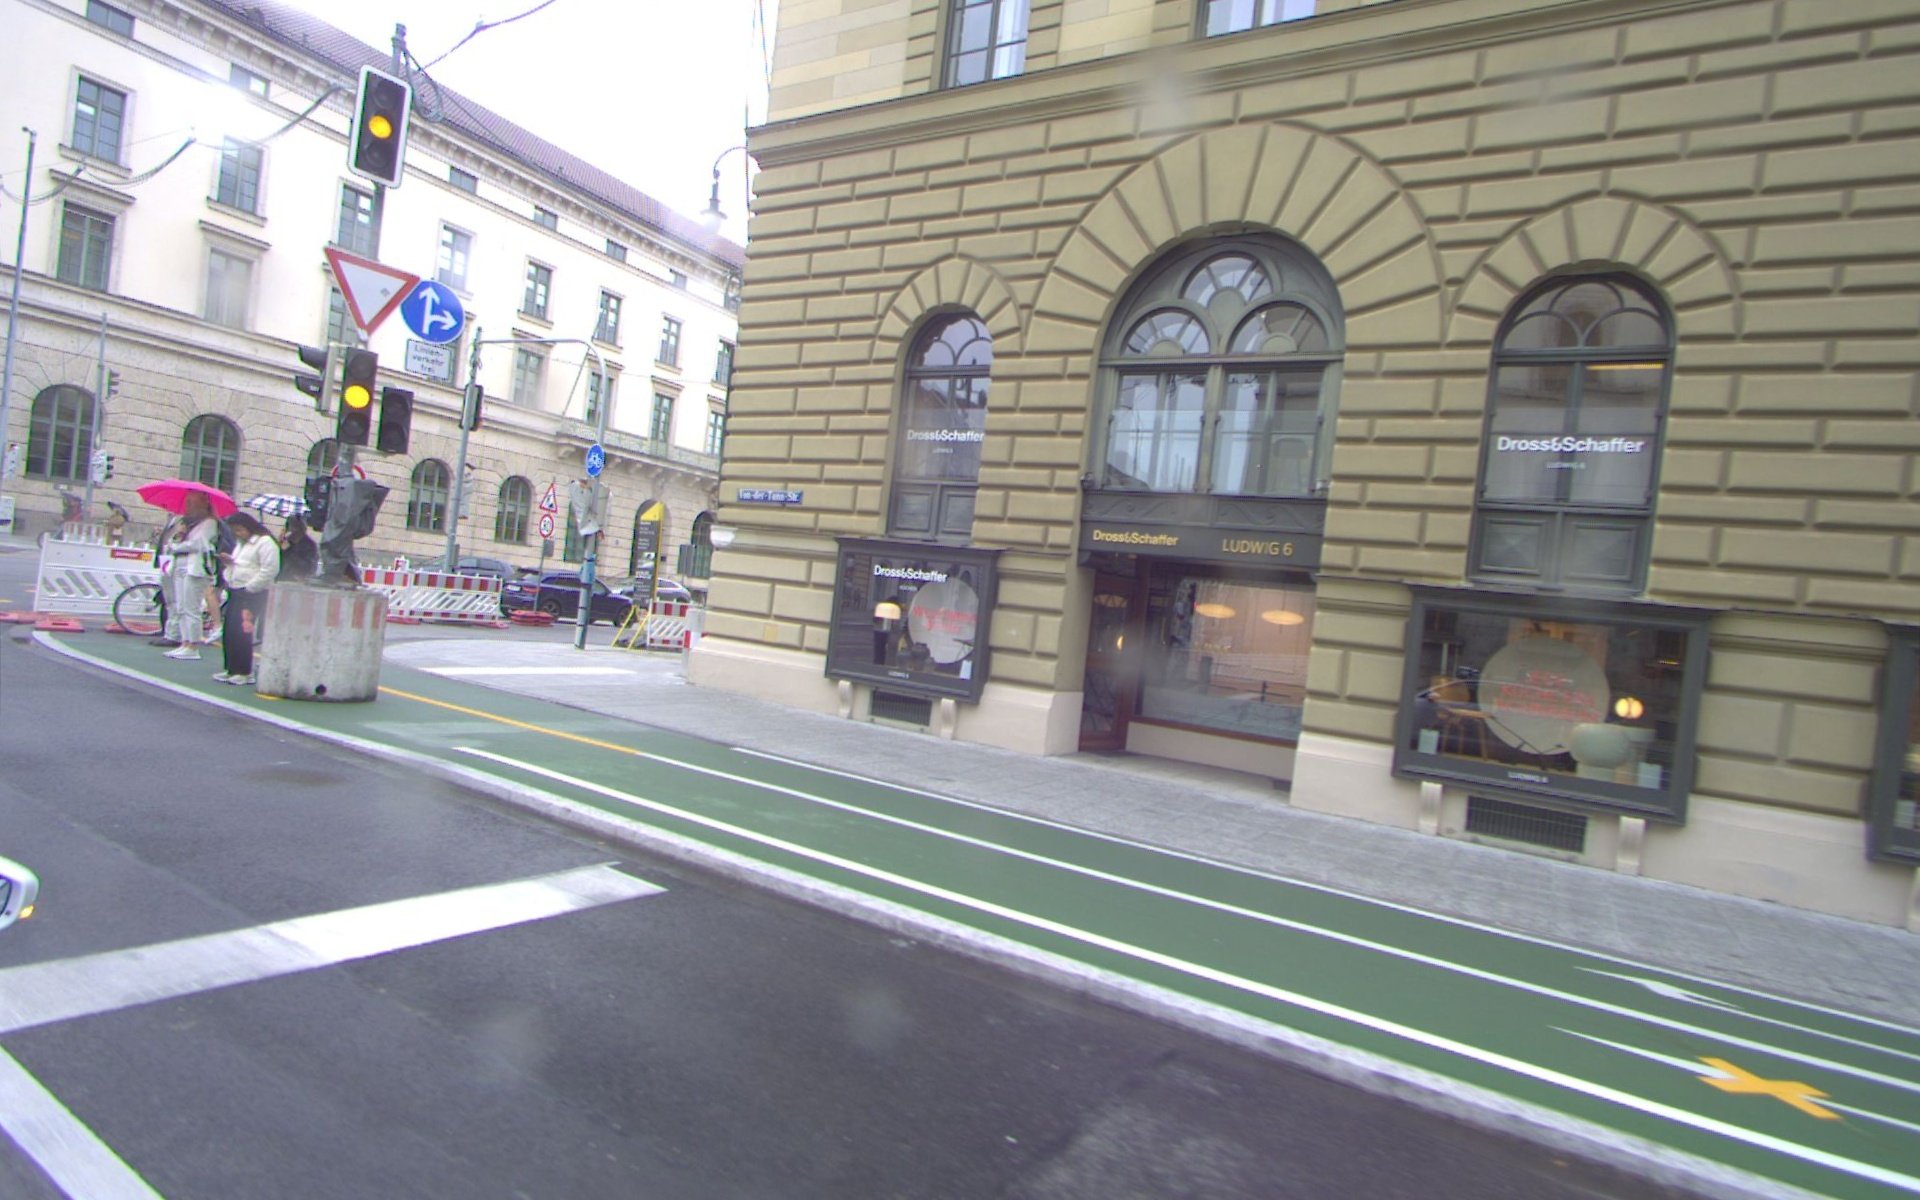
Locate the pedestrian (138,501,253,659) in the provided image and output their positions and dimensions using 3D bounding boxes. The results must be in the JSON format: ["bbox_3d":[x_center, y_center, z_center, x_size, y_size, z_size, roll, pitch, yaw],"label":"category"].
[{"bbox_3d":[-8.221,-0.199,10.826,0.532,1.586,0.703,7,0,33],"label":"pedestrian"}]

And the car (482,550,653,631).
[{"bbox_3d":[-10.649,-0.210,27.564,1.745,1.635,3.994,7,-2,32],"label":"car"}]

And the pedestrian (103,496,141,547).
[{"bbox_3d":[-30.459,-2.859,36.574,0.806,1.714,0.716,7,0,33],"label":"pedestrian"}]

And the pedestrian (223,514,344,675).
[{"bbox_3d":[-7.180,-0.047,10.688,0.671,1.586,0.703,7,0,33],"label":"pedestrian"}]

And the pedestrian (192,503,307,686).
[{"bbox_3d":[-6.779,-0.051,9.598,0.663,1.639,0.532,7,0,33],"label":"pedestrian"}]

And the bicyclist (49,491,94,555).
[{"bbox_3d":[-27.902,-2.413,31.599,0.650,1.864,0.744,7,0,34],"label":"bicyclist"}]

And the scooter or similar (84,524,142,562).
[{"bbox_3d":[-26.560,-1.786,31.559,0.578,0.976,1.213,7,-1,32],"label":"scooter or similar"}]

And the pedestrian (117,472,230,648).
[{"bbox_3d":[-9.062,-0.456,11.596,0.631,1.907,0.703,7,0,36],"label":"pedestrian"}]

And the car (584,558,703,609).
[{"bbox_3d":[-12.846,-0.642,41.132,1.762,1.585,4.568,4,-2,31],"label":"car"}]

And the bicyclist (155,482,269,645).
[{"bbox_3d":[-9.253,-0.441,12.474,0.787,1.876,0.566,7,0,-17],"label":"bicyclist"}]

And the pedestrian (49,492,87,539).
[{"bbox_3d":[-32.147,-3.041,36.254,0.806,1.545,0.666,7,0,29],"label":"pedestrian"}]

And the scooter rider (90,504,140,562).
[{"bbox_3d":[-26.514,-2.095,31.575,0.583,1.642,0.933,7,-1,33],"label":"scooter rider"}]

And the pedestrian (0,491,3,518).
[{"bbox_3d":[-31.591,-2.813,32.475,0.657,1.575,0.817,7,-1,39],"label":"pedestrian"}]

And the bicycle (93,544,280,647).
[{"bbox_3d":[-9.494,-0.045,12.417,1.632,1.023,0.584,8,-1,-17],"label":"bicycle"}]

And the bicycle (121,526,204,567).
[{"bbox_3d":[-26.549,-1.771,33.518,0.782,1.052,1.960,7,-1,34],"label":"bicycle"}]

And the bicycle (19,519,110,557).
[{"bbox_3d":[-28.026,-1.928,31.509,0.651,0.890,1.974,7,-1,34],"label":"bicycle"}]

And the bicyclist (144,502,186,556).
[{"bbox_3d":[-26.474,-2.369,33.511,0.782,1.634,0.744,7,0,34],"label":"bicyclist"}]
